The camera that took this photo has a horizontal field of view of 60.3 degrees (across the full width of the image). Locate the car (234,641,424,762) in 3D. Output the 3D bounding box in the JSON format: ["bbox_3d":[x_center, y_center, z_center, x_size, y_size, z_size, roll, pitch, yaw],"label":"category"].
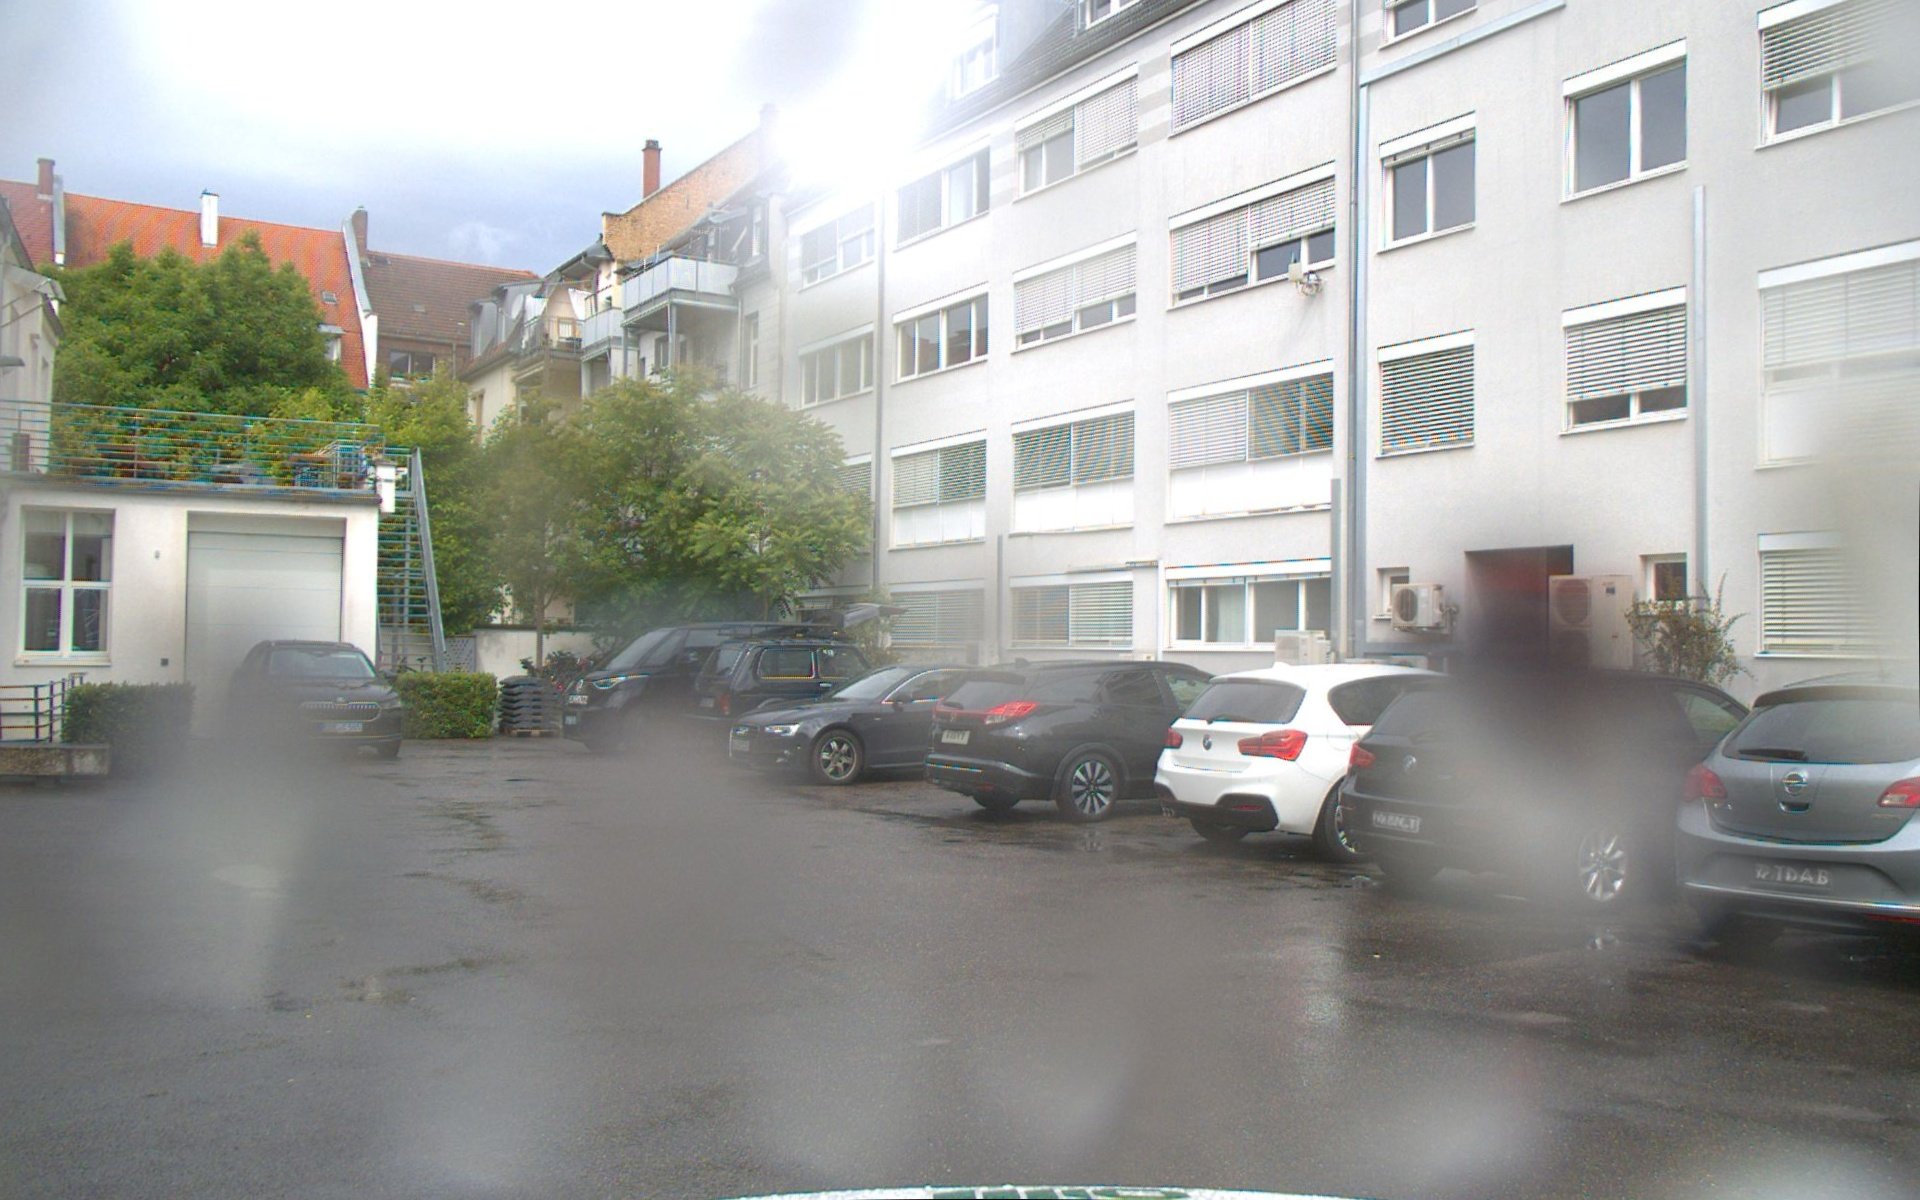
[{"bbox_3d":[-8.657,1.311,22.489,1.956,1.469,3.963,2,-2,-28],"label":"car"}]

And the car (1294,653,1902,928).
[{"bbox_3d":[4.321,1.127,11.082,3.946,1.427,1.755,-1,-1,-31],"label":"car"}]

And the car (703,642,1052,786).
[{"bbox_3d":[-0.970,1.303,19.949,3.869,1.540,1.733,0,-2,-31],"label":"car"}]

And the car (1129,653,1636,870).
[{"bbox_3d":[3.470,1.188,13.423,3.947,1.484,1.754,0,-2,-32],"label":"car"}]

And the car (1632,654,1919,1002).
[{"bbox_3d":[5.646,1.042,8.789,3.943,1.471,1.789,0,-1,-29],"label":"car"}]

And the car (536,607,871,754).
[{"bbox_3d":[-3.857,1.140,25.221,4.599,2.038,2.196,0,-1,-36],"label":"car"}]

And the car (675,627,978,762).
[{"bbox_3d":[-1.862,1.263,23.150,3.863,1.717,1.801,0,-2,-28],"label":"car"}]

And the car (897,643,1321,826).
[{"bbox_3d":[1.498,1.221,16.186,3.873,1.540,1.799,0,-2,-33],"label":"car"}]
